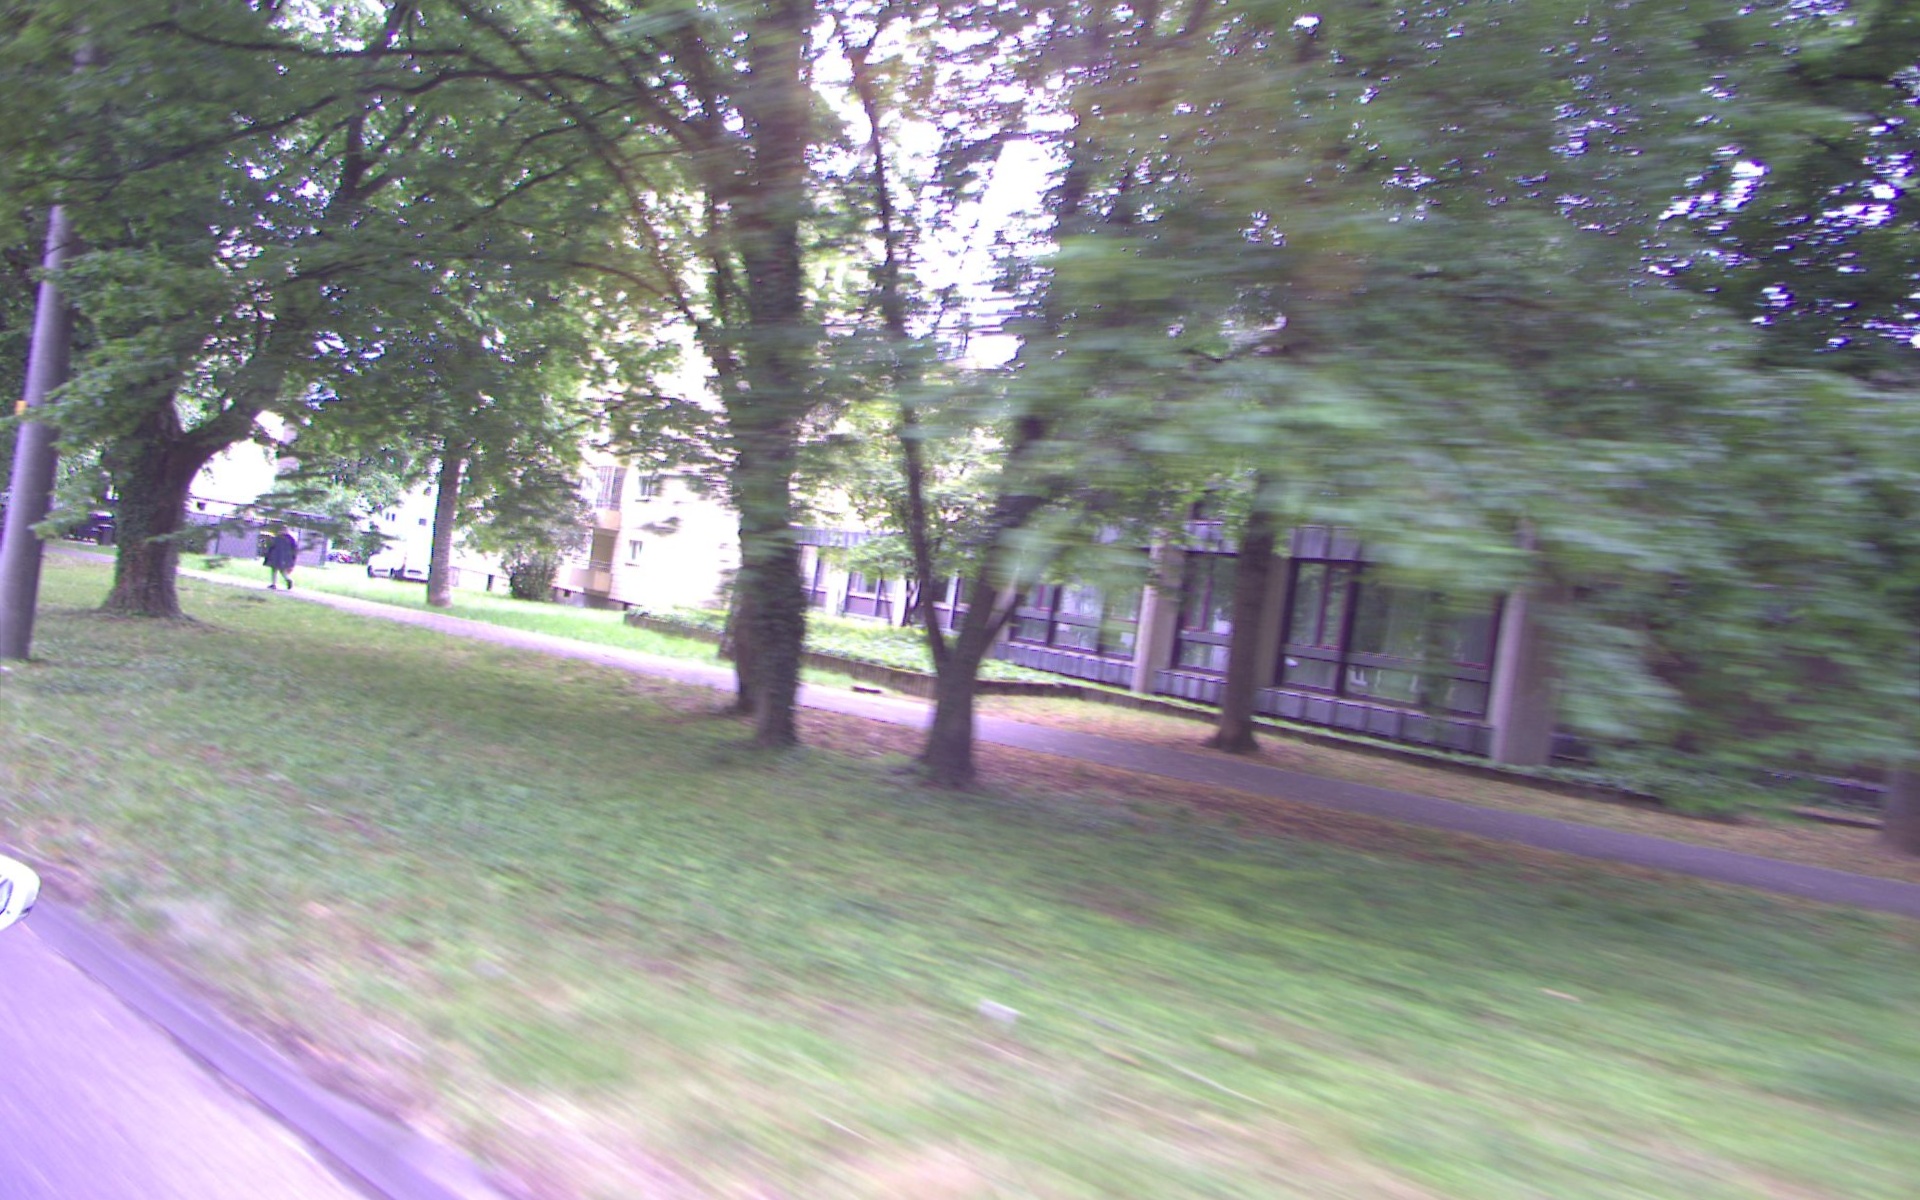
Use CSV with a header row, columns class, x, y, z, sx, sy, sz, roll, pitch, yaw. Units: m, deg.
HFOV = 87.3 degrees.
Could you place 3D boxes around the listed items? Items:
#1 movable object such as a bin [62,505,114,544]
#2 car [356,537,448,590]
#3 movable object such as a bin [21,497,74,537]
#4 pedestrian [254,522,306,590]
class,x,y,z,sx,sy,sz,roll,pitch,yaw
movable object such as a bin,-39.912,-3.445,46.047,1.292,1.519,1.329,7,0,30
car,-26.072,-1.717,46.964,4.897,1.865,2.083,8,0,41
movable object such as a bin,-40.649,-3.702,44.818,1.292,1.519,1.329,7,0,30
pedestrian,-18.396,-1.182,27.221,0.801,1.707,0.769,7,0,31
